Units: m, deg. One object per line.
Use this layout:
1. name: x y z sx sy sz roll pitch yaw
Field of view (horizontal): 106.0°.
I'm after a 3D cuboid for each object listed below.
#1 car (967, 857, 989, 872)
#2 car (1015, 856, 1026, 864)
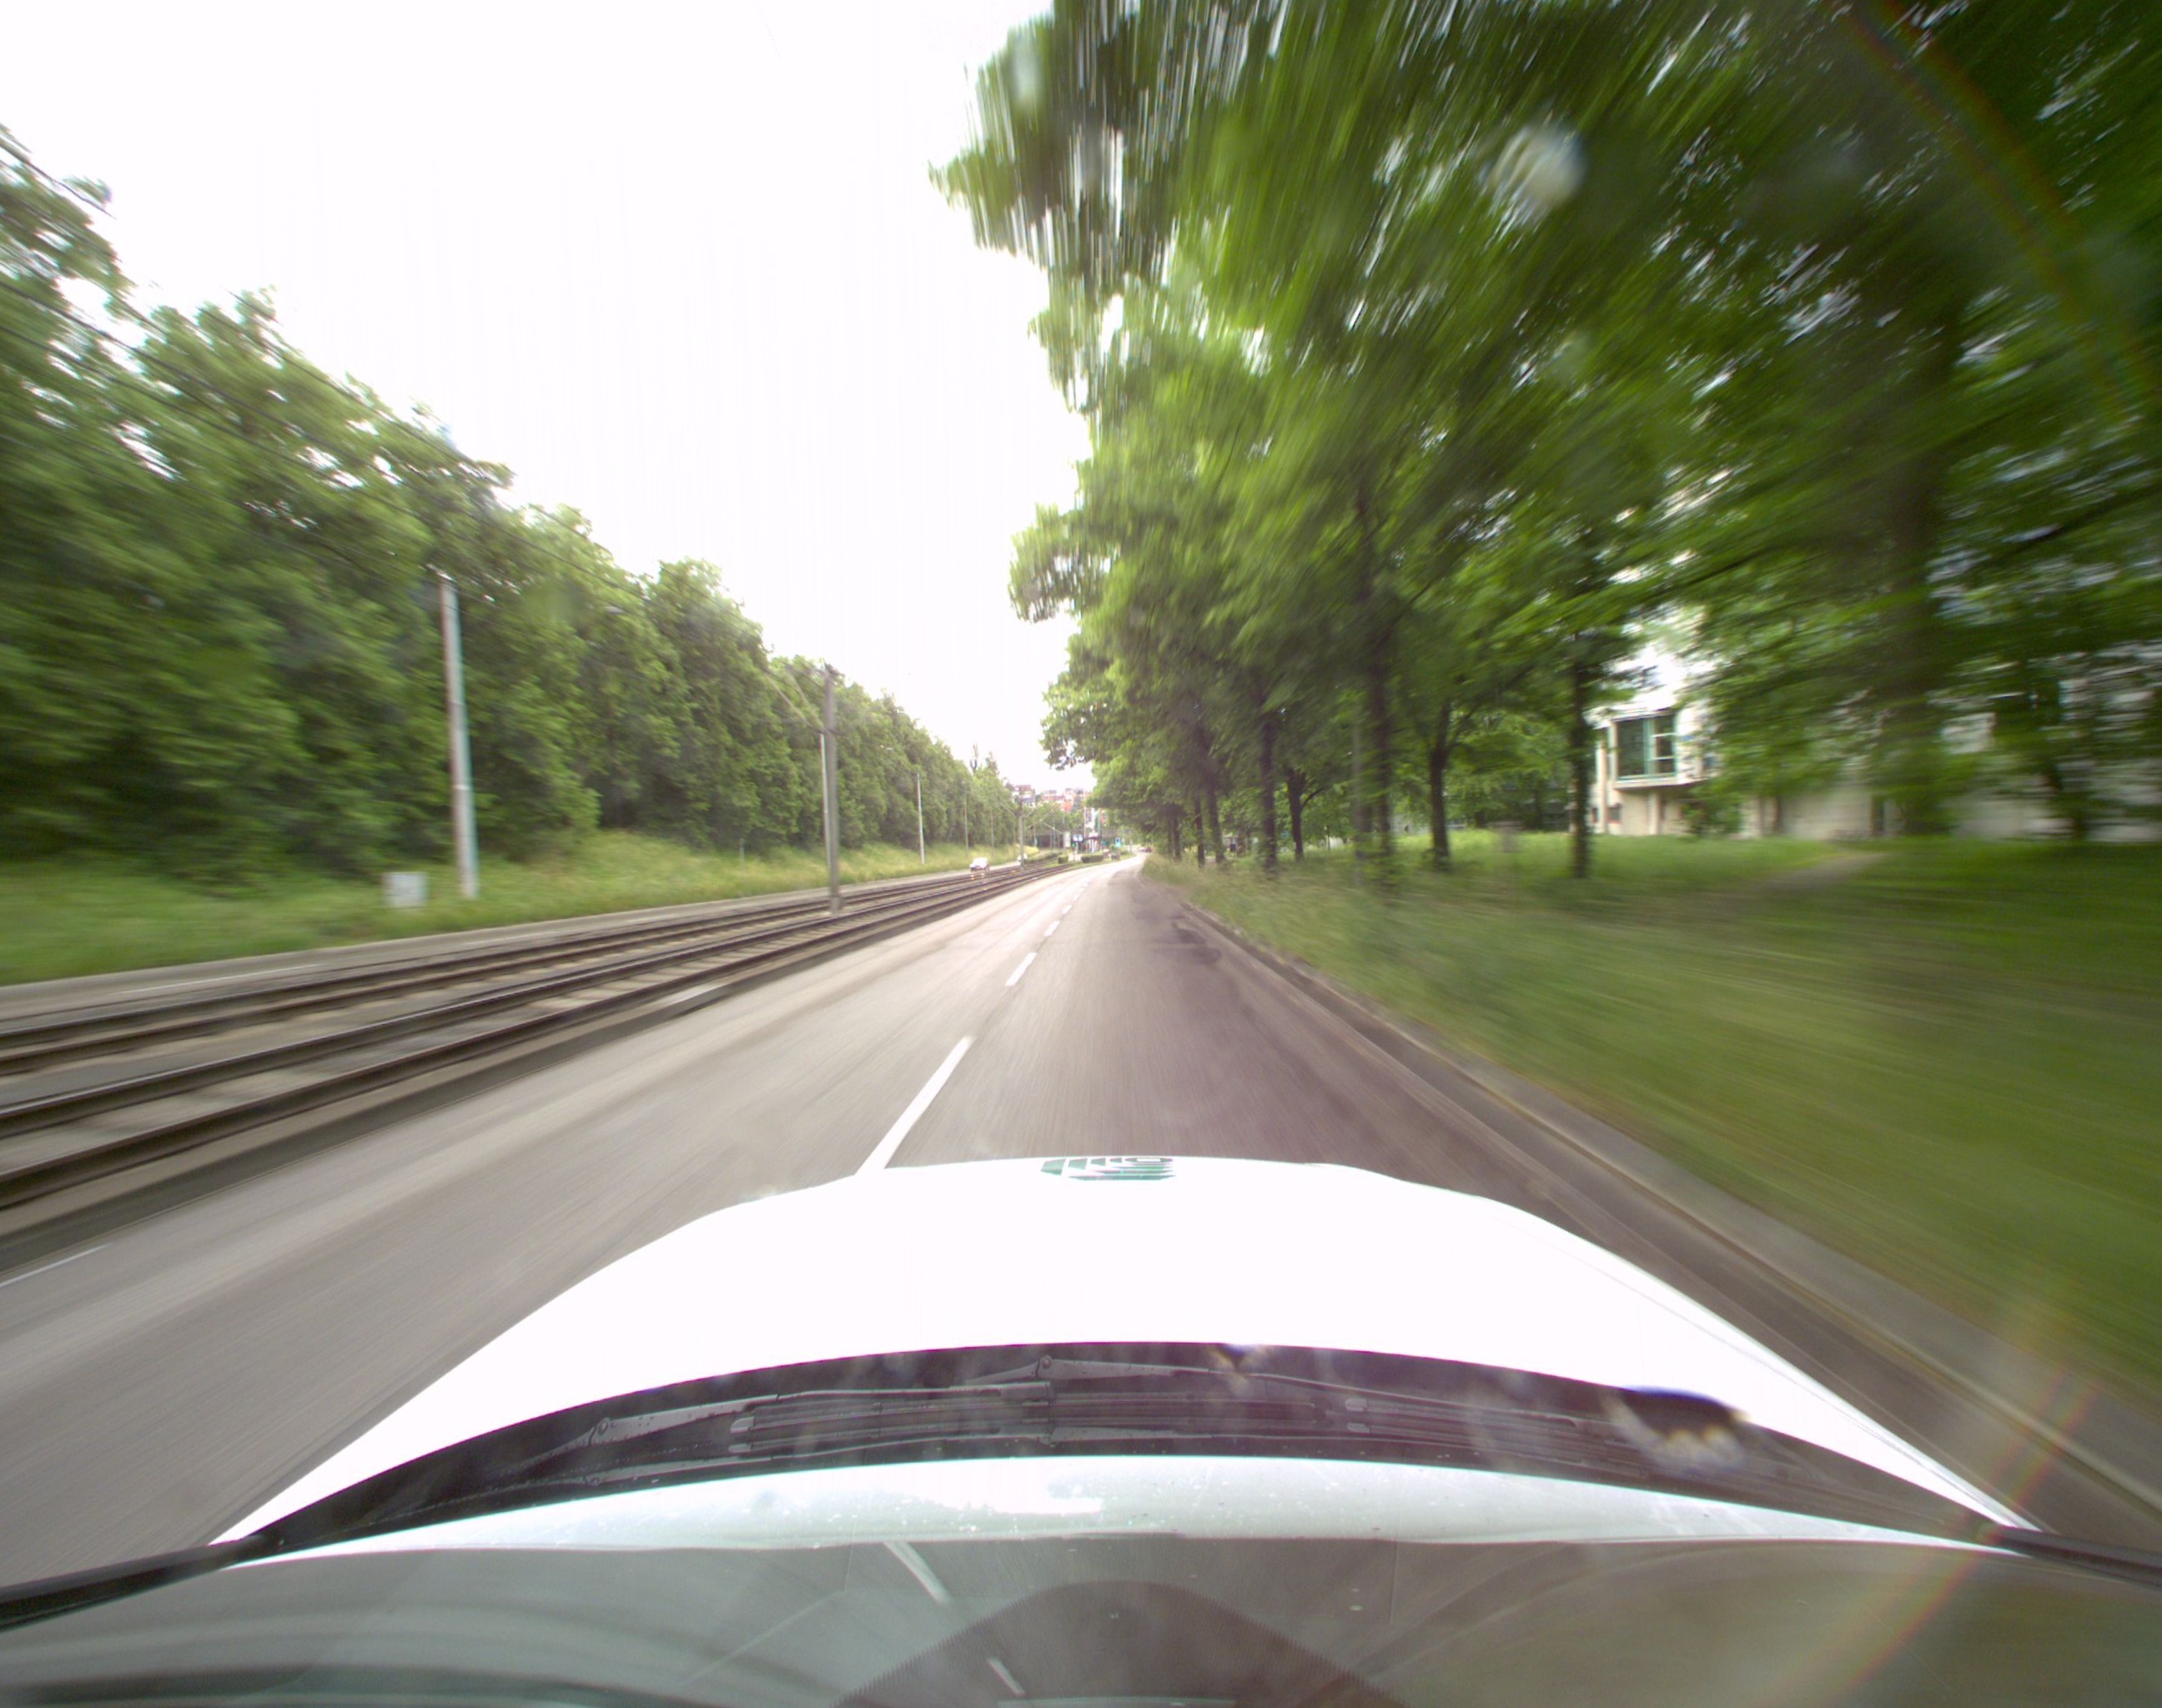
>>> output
1. car: -11.193 1.091 88.634 1.664 1.443 4.028 -4 0 1
2. car: -12.458 1.205 168.012 1.779 1.552 3.960 -3 0 0
